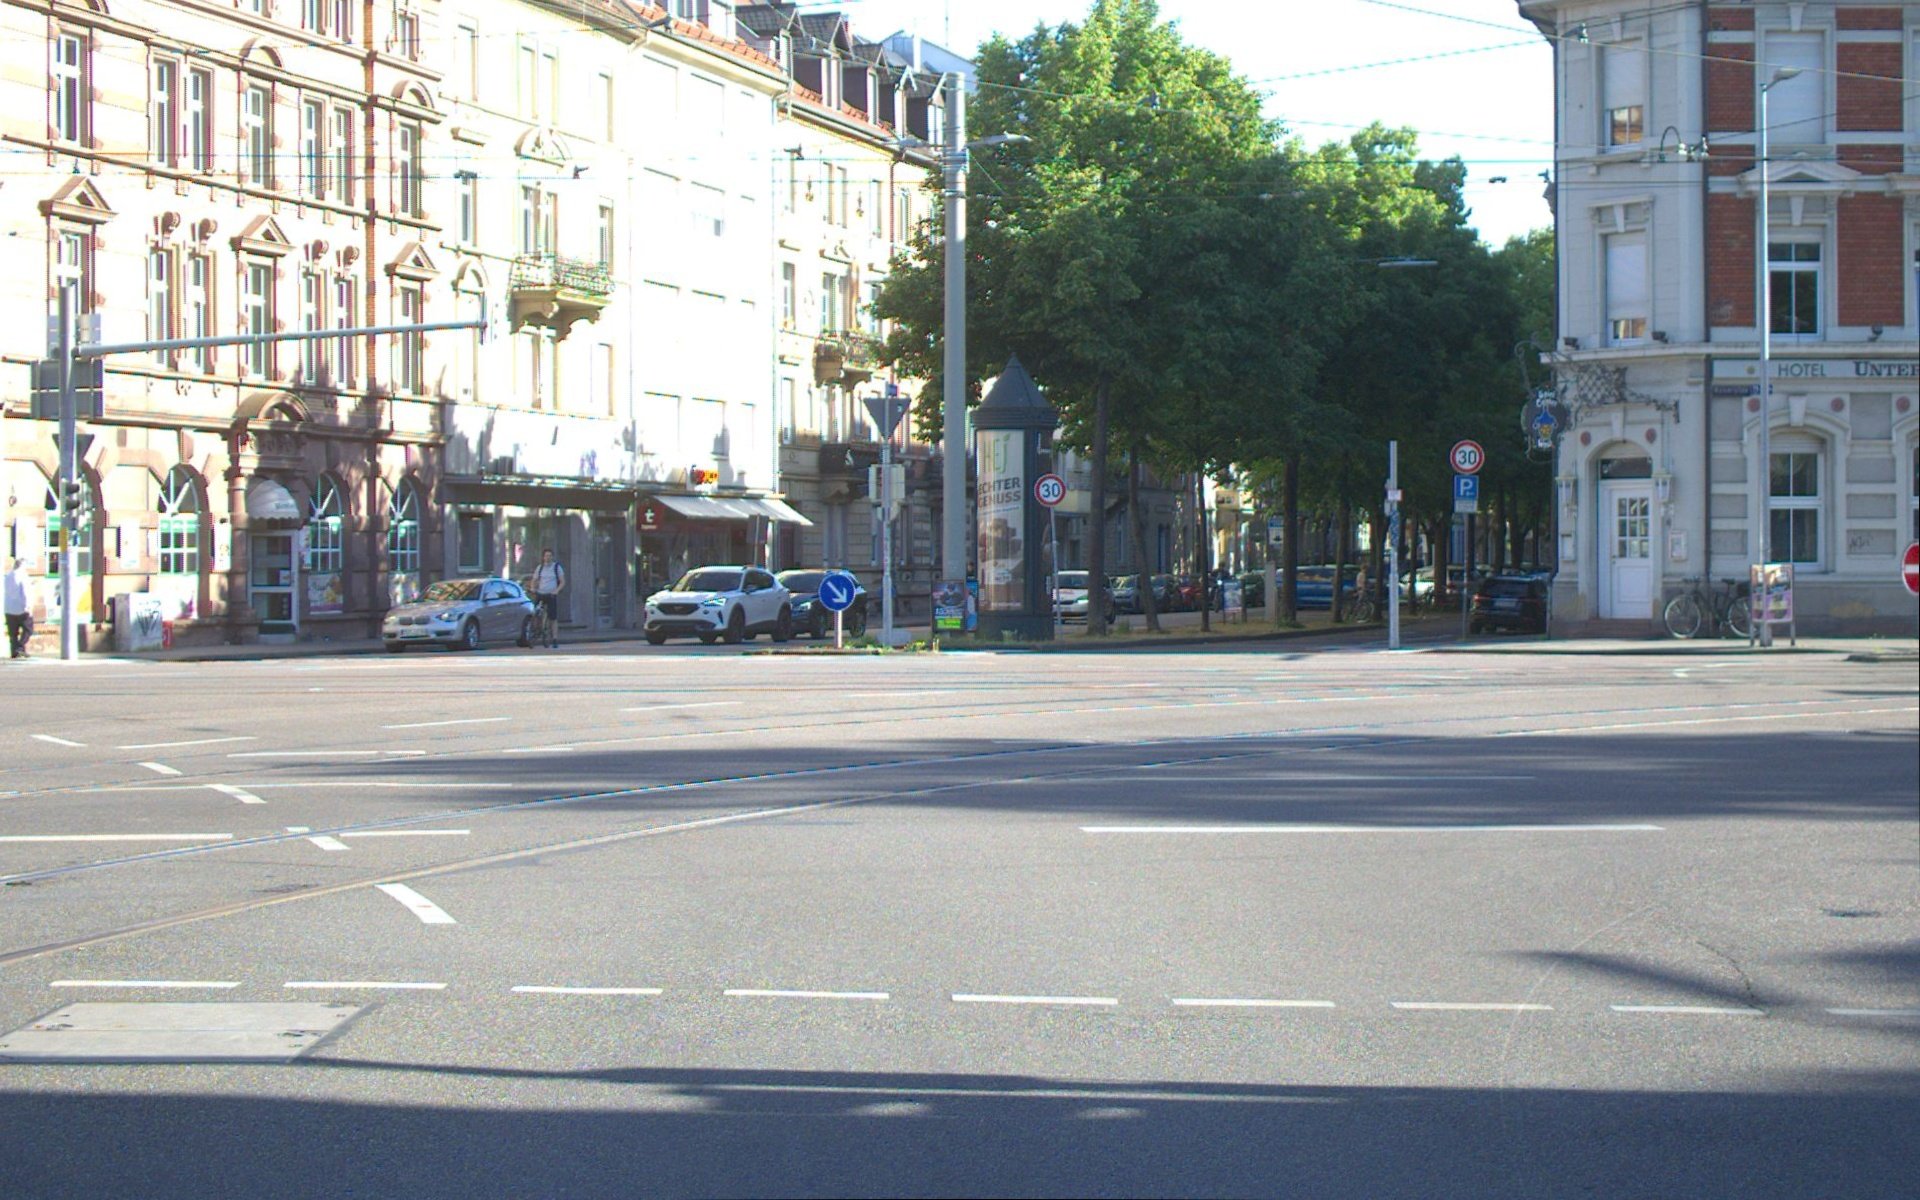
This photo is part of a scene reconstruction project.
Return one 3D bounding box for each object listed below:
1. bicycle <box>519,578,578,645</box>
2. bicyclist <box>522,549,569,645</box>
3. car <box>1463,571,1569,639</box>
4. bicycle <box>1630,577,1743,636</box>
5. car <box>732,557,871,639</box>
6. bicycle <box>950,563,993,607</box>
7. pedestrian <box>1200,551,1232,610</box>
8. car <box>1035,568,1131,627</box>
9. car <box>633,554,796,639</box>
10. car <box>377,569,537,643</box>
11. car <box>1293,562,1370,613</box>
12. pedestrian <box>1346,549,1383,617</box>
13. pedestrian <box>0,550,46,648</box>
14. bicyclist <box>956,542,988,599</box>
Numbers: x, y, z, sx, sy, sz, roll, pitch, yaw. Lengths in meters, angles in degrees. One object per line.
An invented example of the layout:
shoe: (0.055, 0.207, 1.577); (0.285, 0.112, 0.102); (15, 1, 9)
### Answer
bicycle: (-7.806, 0.209, 65.258); (0.565, 1.250, 1.556); (1, 0, 14)
bicyclist: (-7.848, -0.067, 65.114); (0.565, 1.797, 0.913); (1, 0, 15)
car: (13.369, 0.106, 82.485); (1.758, 1.550, 3.996); (1, 1, 20)
bicycle: (12.067, 0.103, 57.120); (1.804, 0.959, 0.603); (1, 0, 14)
car: (-3.362, -0.059, 73.616); (1.826, 1.679, 3.872); (1, 1, 16)
bicycle: (0.330, -0.430, 95.653); (0.674, 1.203, 1.820); (1, 1, 18)
pedestrian: (8.788, -0.666, 117.910); (0.944, 2.007, 0.826); (1, 0, 14)
car: (3.428, -0.078, 95.482); (1.804, 1.570, 3.888); (1, 1, 15)
car: (-4.759, -0.087, 67.255); (1.804, 1.579, 4.156); (1, 1, 17)
car: (-9.772, 0.105, 67.040); (1.661, 1.369, 3.889); (1, 1, 15)
car: (12.625, -0.420, 116.611); (1.995, 1.678, 3.997); (1, 1, 15)
pedestrian: (12.039, -0.496, 102.322); (0.961, 2.007, 0.918); (1, 0, 1)
pedestrian: (-15.849, -0.016, 57.756); (0.568, 1.636, 0.792); (1, 0, 23)
bicyclist: (0.335, -0.816, 95.652); (0.674, 1.563, 0.747); (1, 0, 18)
